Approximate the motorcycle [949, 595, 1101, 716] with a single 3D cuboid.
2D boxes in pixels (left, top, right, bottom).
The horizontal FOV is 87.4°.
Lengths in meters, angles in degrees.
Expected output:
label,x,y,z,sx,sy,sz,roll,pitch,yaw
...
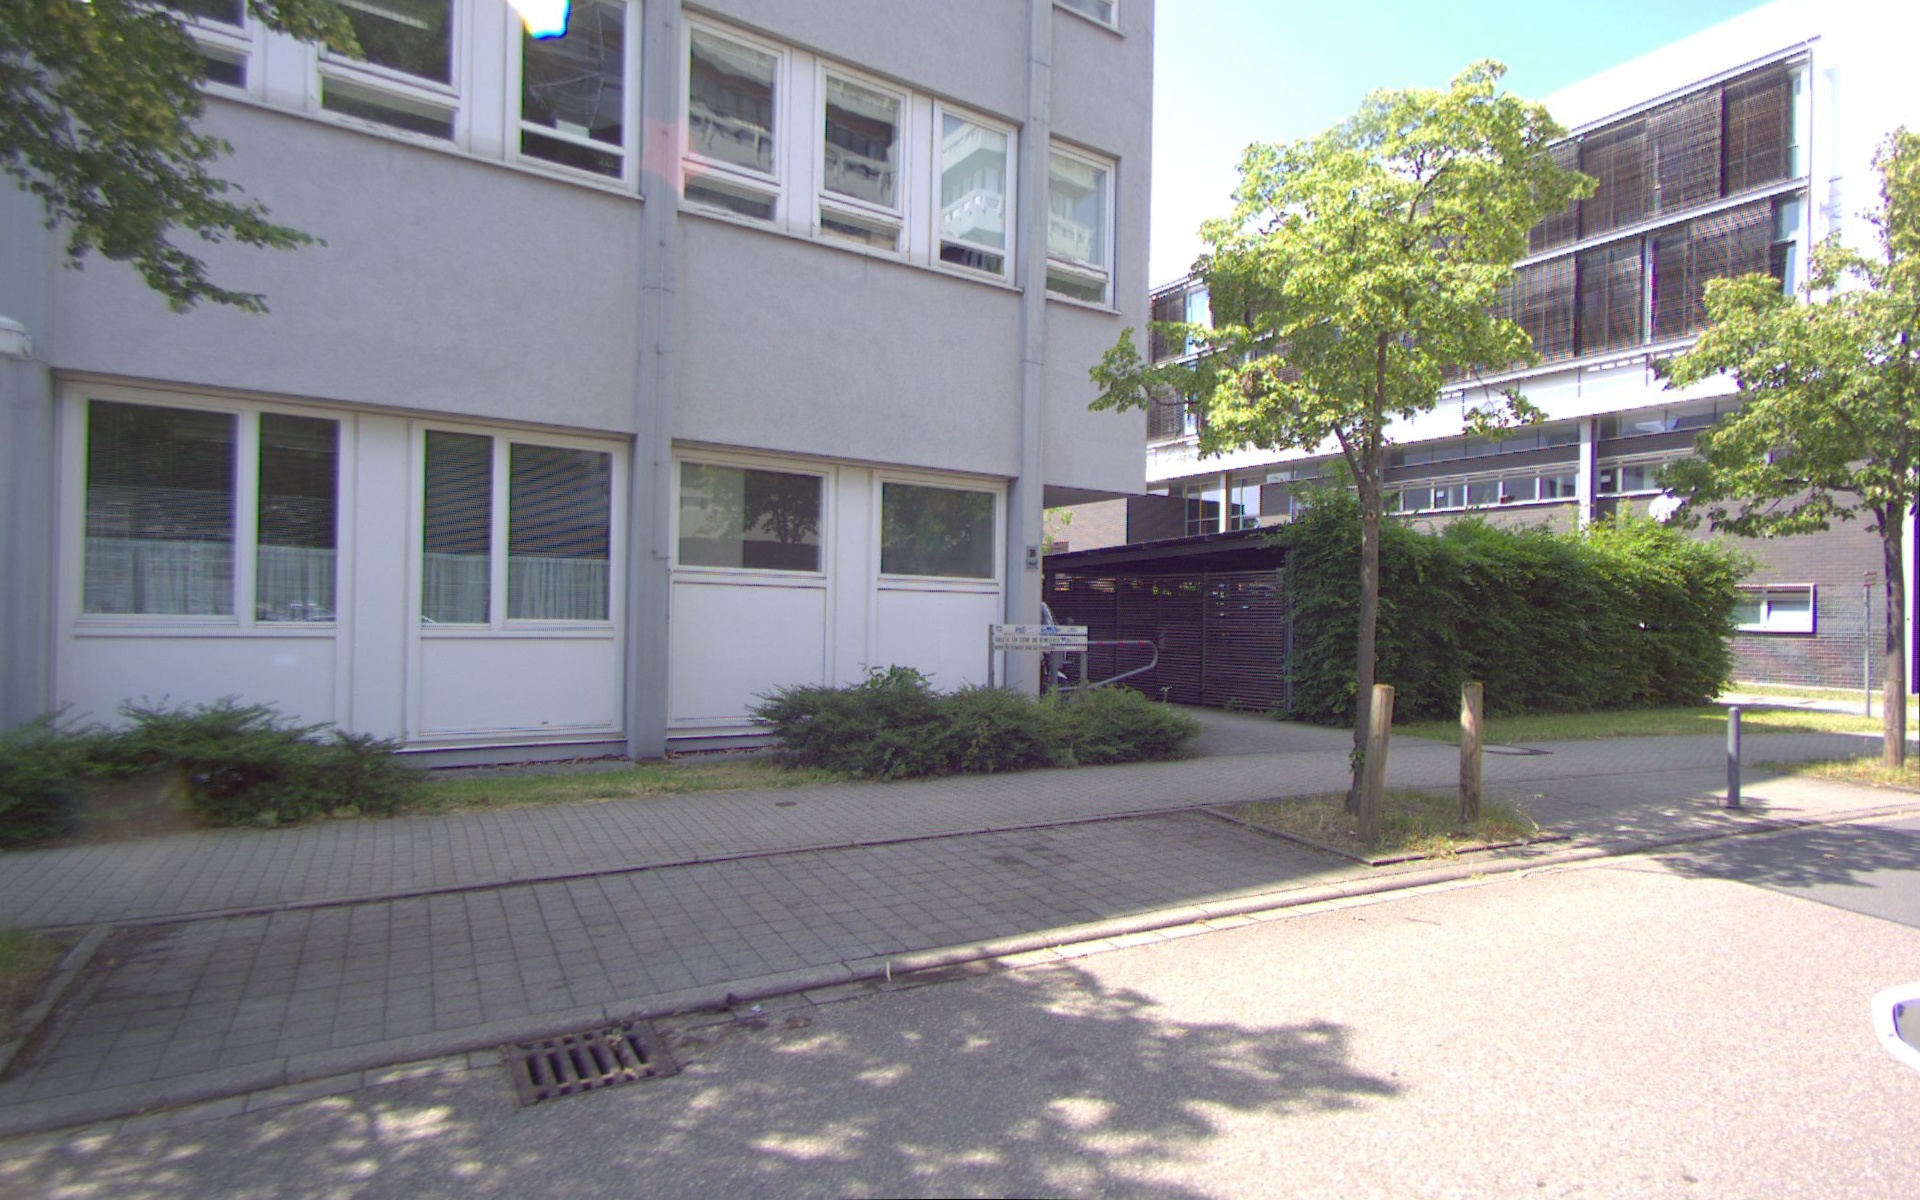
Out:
label,x,y,z,sx,sy,sz,roll,pitch,yaw
motorcycle,0.879,0.742,14.220,1.071,1.571,2.081,1,-1,-35
